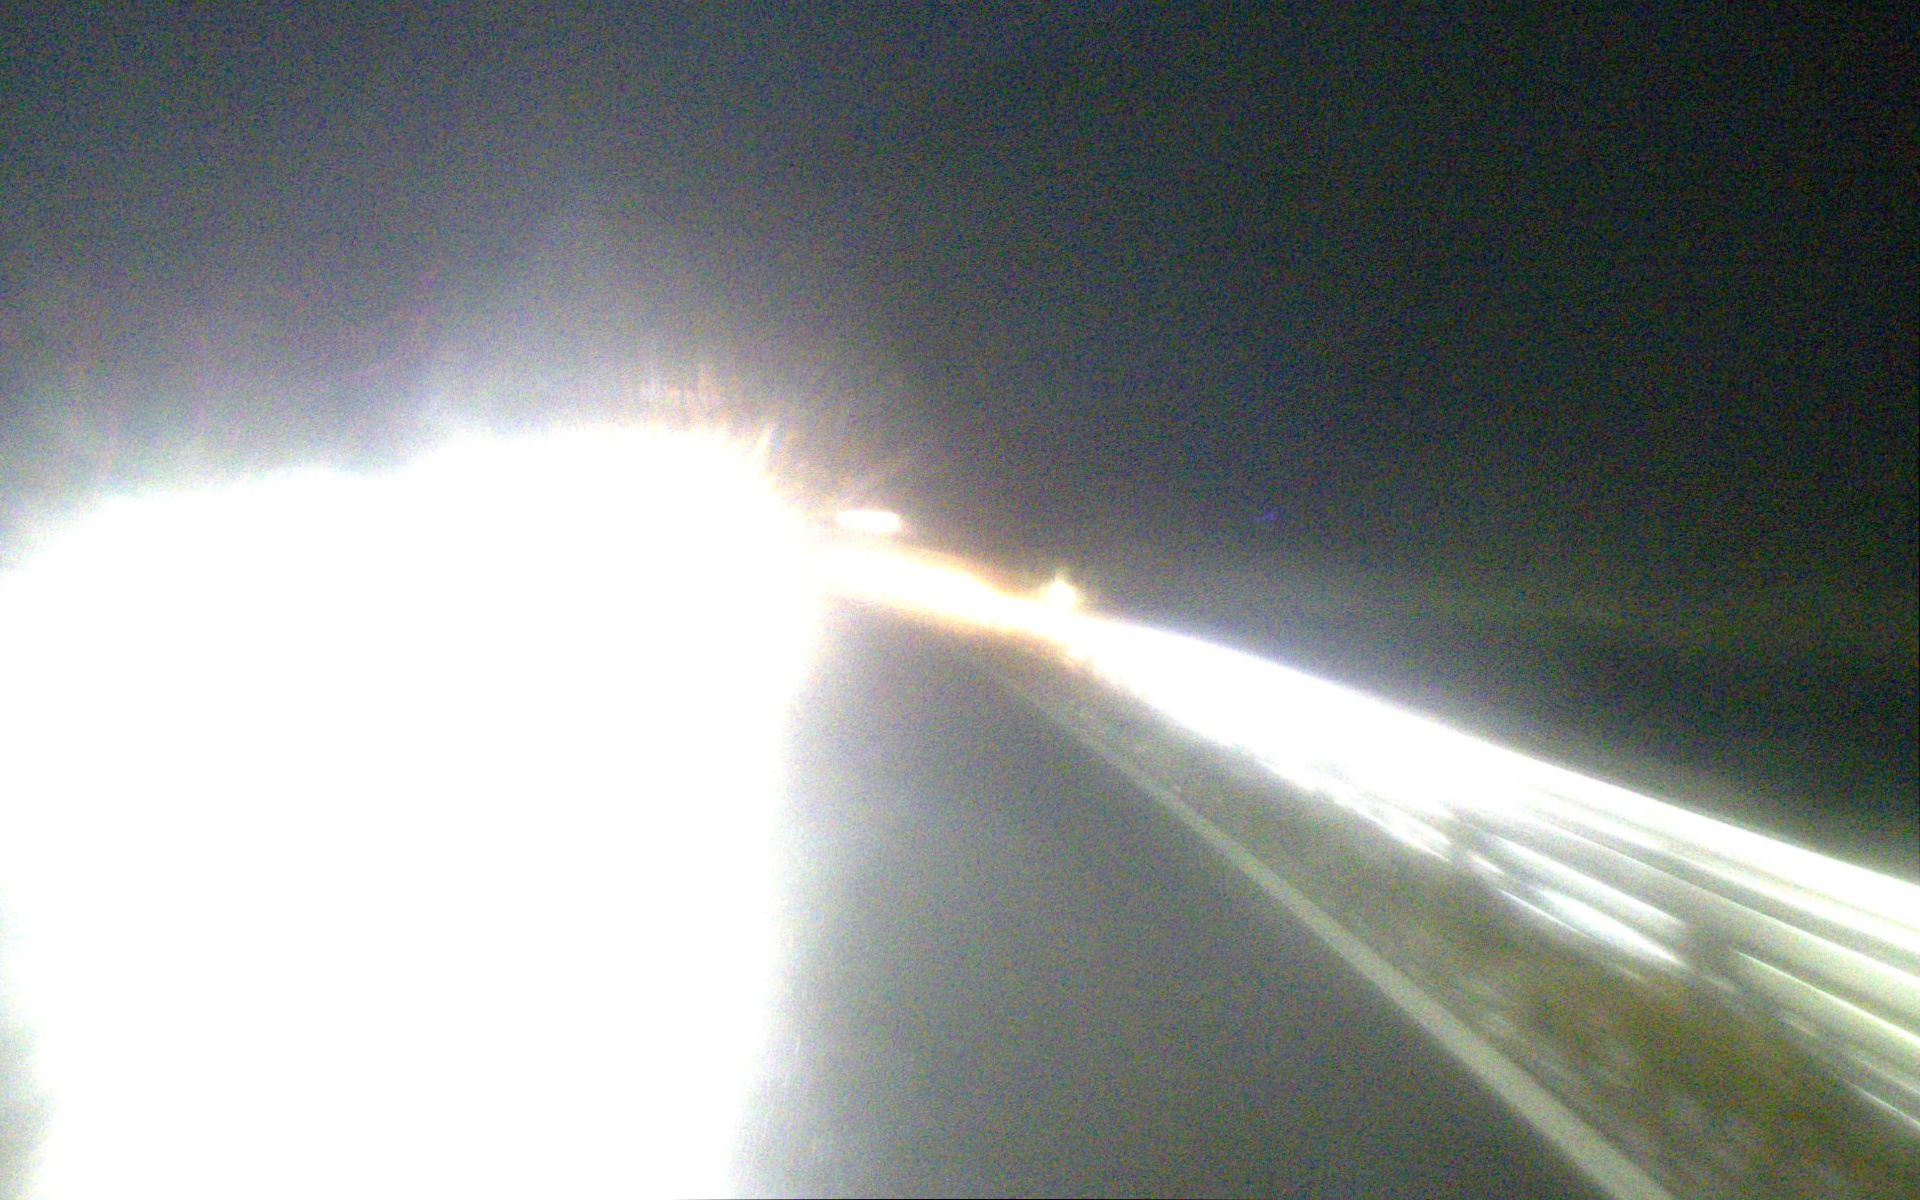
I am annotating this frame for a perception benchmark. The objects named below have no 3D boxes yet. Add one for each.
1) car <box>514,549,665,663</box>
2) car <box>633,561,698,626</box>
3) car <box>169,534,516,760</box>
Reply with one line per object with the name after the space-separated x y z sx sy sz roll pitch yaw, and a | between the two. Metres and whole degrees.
-5.078 0.051 47.558 1.832 1.478 4.070 0 1 -3 | car
-8.774 -0.209 102.735 1.832 1.864 4.430 0 1 -4 | car
-4.341 0.269 24.772 1.832 1.478 4.353 0 1 -2 | car
